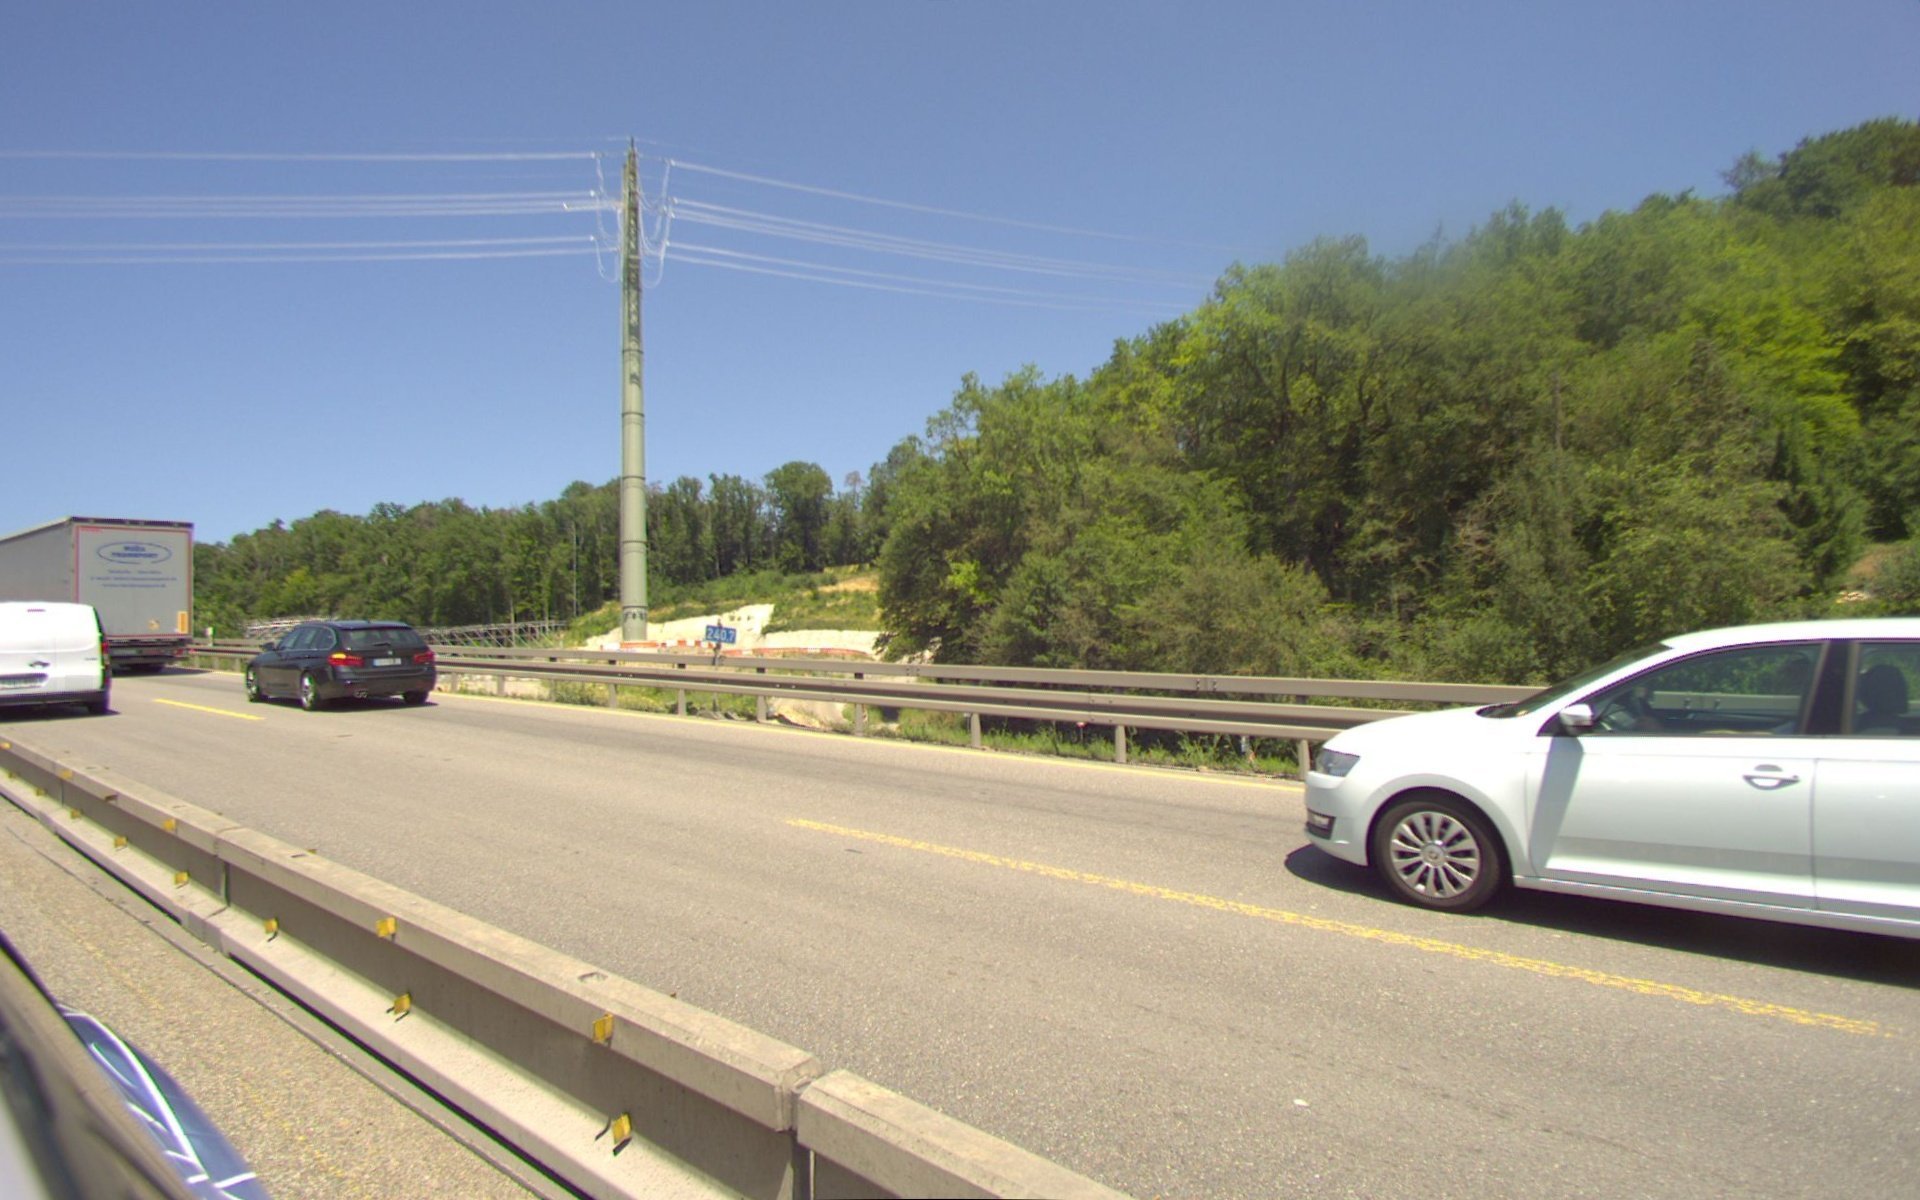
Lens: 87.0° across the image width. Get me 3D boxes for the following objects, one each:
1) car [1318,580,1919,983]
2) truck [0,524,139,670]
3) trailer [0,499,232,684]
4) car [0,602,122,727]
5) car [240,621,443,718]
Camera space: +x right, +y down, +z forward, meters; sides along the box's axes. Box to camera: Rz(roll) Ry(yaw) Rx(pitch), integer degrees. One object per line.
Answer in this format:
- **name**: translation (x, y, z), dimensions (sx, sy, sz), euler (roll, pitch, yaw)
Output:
- **car**: translation (3.925, 0.697, 4.615), dimensions (3.998, 1.504, 1.682), euler (-1, -2, 41)
- **truck**: translation (-31.003, -0.082, 34.436), dimensions (7.268, 4.455, 3.362), euler (-1, 0, 40)
- **trailer**: translation (-25.755, -0.160, 30.121), dimensions (12.914, 4.520, 3.454), euler (-1, 0, 40)
- **car**: translation (-15.140, 0.949, 16.205), dimensions (4.227, 1.786, 1.842), euler (-1, 0, 39)
- **car**: translation (-10.669, 1.088, 17.343), dimensions (4.301, 1.439, 1.758), euler (-1, -1, 41)
